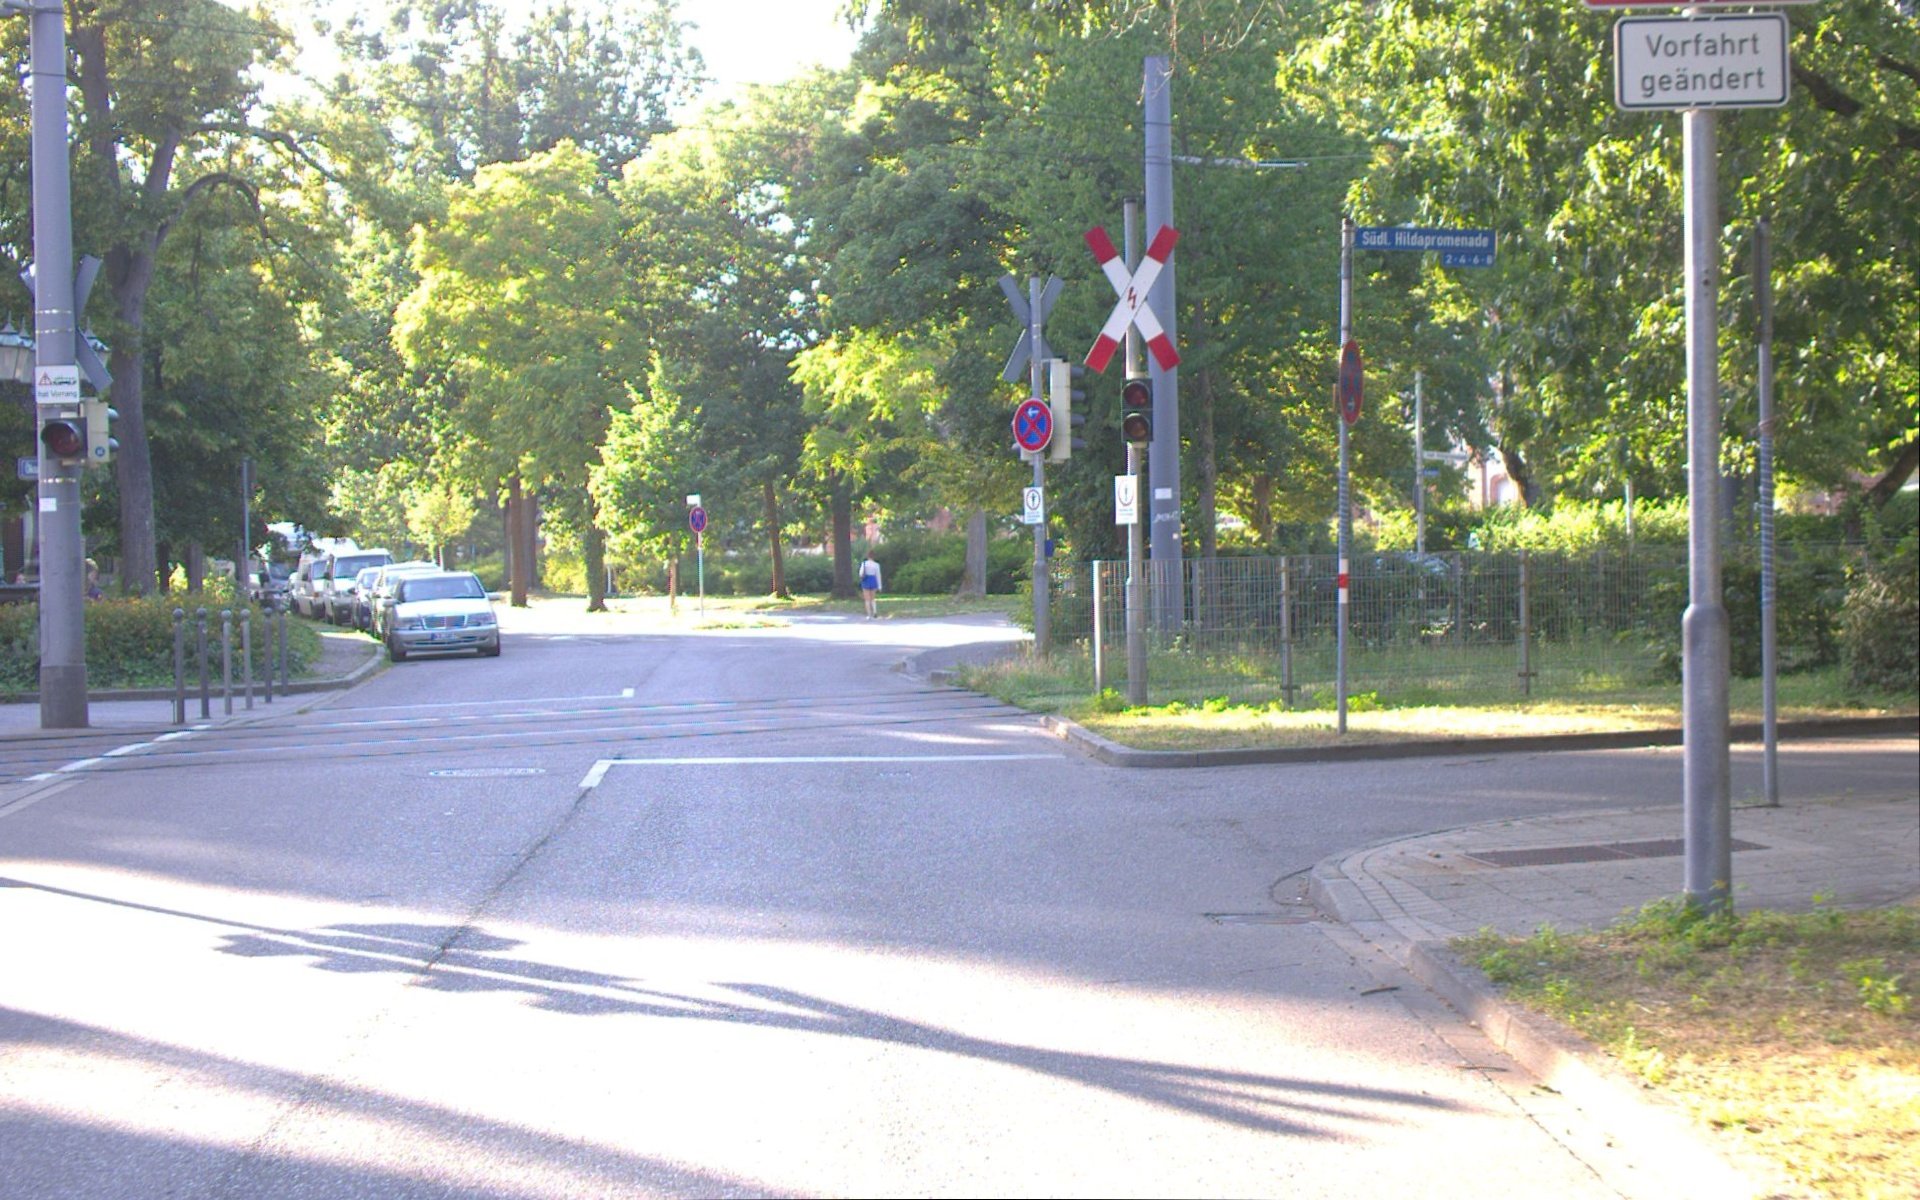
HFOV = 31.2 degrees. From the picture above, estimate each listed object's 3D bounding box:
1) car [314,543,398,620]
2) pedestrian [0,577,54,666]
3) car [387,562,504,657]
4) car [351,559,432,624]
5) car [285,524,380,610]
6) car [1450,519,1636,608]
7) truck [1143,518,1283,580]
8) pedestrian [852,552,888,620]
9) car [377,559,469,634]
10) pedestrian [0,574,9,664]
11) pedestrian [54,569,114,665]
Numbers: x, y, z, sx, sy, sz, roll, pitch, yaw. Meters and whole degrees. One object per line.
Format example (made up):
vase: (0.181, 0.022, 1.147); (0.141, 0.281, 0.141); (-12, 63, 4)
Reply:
car: (-15.891, -0.509, 90.257); (1.850, 1.939, 4.842); (-1, 1, -14)
pedestrian: (-12.818, 0.293, 47.027); (0.551, 1.191, 0.884); (-1, 1, 4)
car: (-8.606, 0.130, 57.347); (1.779, 1.411, 4.499); (-3, 1, -9)
car: (-13.588, -0.213, 82.044); (1.615, 1.496, 3.698); (-1, 1, -14)
car: (-17.774, -0.937, 97.234); (1.850, 2.348, 5.188); (-1, 1, -19)
car: (13.652, -0.863, 80.308); (1.957, 2.007, 5.141); (0, 1, 40)
truck: (12.605, -2.521, 171.855); (2.604, 3.019, 8.008); (-1, 1, -33)
pedestrian: (-2.126, -0.335, 81.018); (0.773, 1.569, 0.768); (-1, 1, -4)
car: (-11.055, -0.085, 70.609); (1.612, 1.435, 3.607); (-3, 1, -12)
pedestrian: (-13.405, 0.264, 46.996); (0.551, 1.228, 0.724); (-1, 1, 4)
pedestrian: (-12.017, 0.227, 47.160); (0.551, 1.293, 0.765); (-1, 1, 4)
